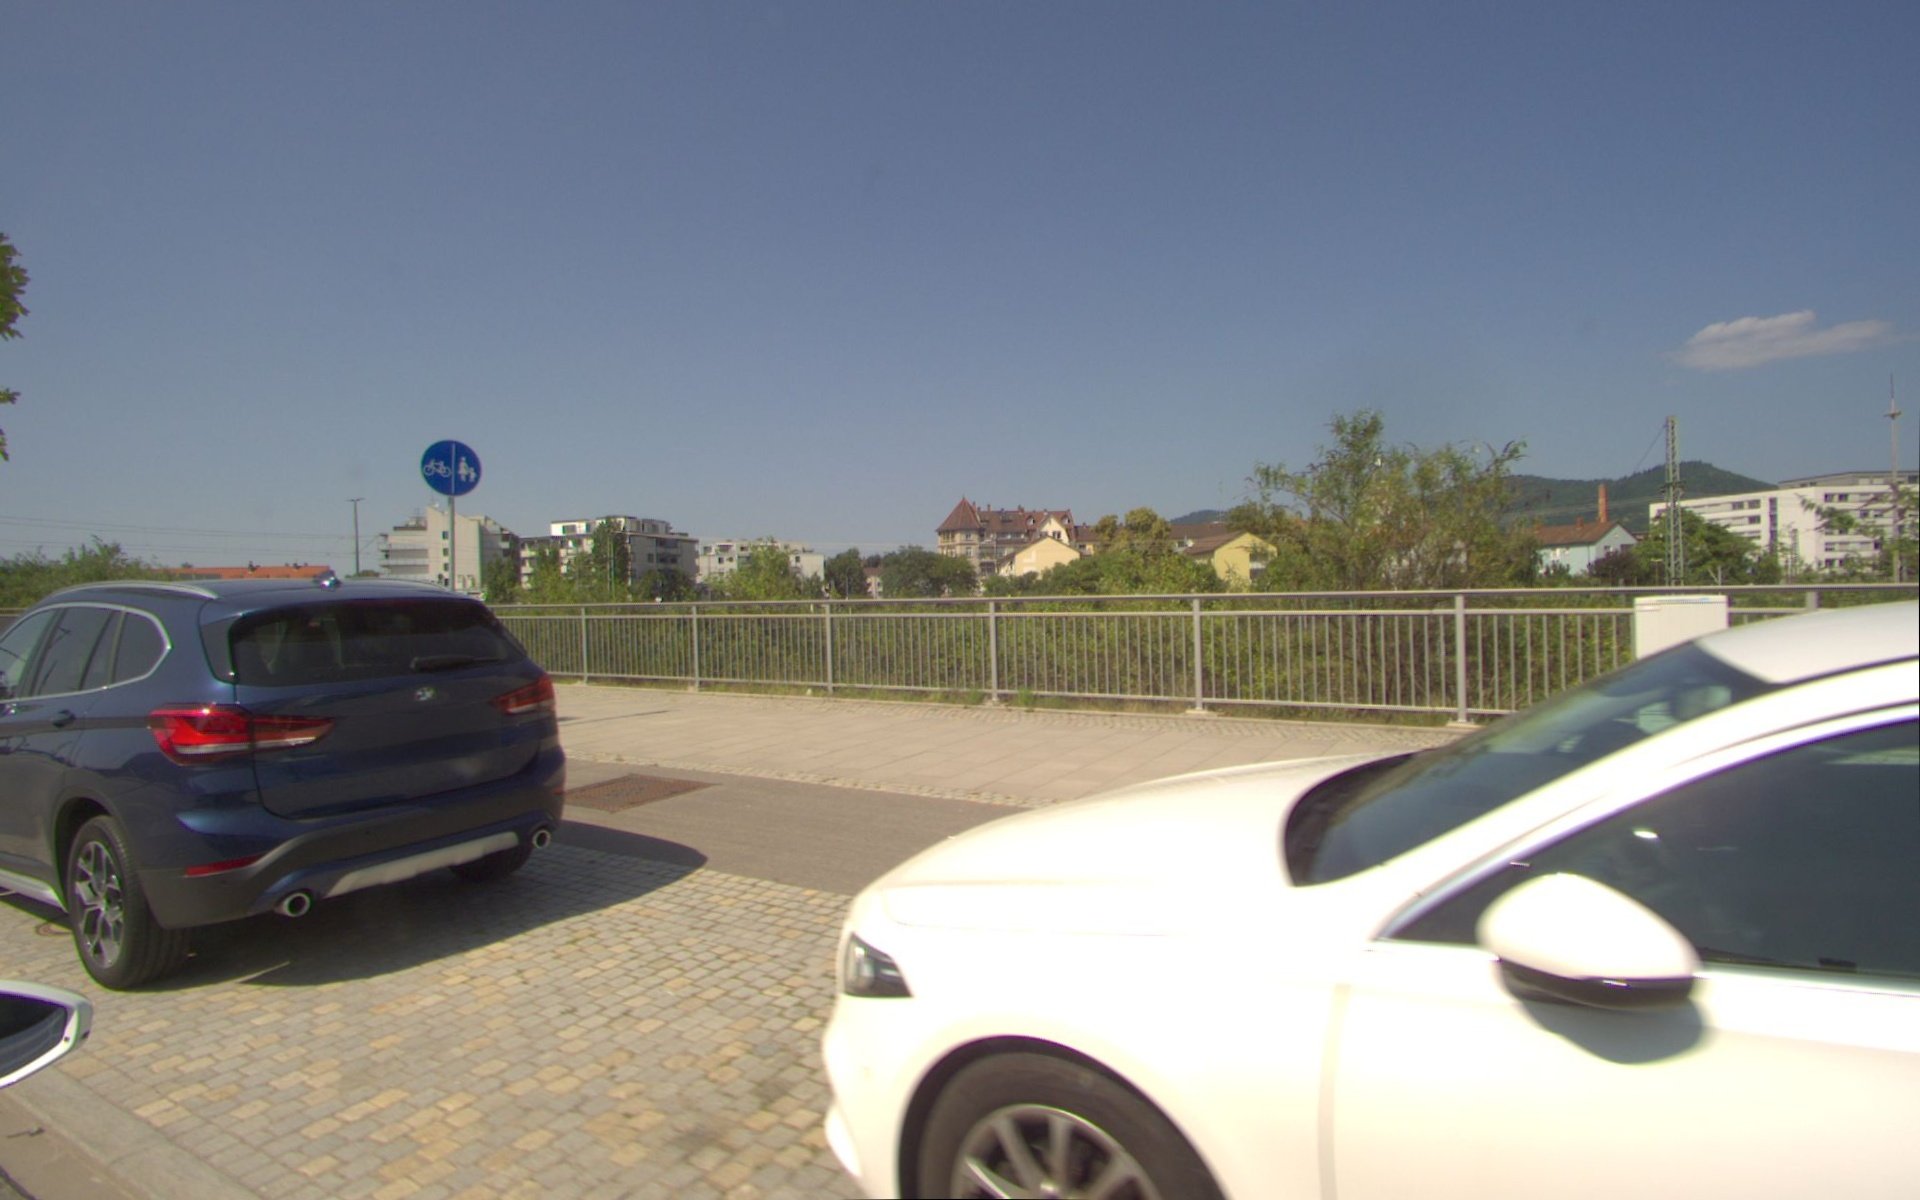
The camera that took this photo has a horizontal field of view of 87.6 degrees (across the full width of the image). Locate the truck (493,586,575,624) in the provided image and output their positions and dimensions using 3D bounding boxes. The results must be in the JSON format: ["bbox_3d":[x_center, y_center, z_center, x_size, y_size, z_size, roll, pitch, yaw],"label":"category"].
[{"bbox_3d":[-39.360,0.517,92.761,3.672,3.244,6.483,-1,-2,17],"label":"truck"}]

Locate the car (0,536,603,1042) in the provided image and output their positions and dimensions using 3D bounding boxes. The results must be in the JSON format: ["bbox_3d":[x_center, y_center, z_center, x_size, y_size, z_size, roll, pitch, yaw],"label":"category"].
[{"bbox_3d":[-4.024,0.659,5.255,4.210,1.706,1.799,-1,1,32],"label":"car"}]

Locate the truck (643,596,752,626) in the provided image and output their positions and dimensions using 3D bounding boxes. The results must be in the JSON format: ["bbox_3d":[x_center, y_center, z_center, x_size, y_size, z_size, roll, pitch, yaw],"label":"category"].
[{"bbox_3d":[-31.051,1.461,120.126,3.674,3.244,17.872,-1,-2,17],"label":"truck"}]

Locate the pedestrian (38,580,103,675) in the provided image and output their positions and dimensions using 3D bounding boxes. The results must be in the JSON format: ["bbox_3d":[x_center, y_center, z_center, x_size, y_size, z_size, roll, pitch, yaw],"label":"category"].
[{"bbox_3d":[-17.999,0.562,20.262,0.872,1.853,0.757,-1,-1,33],"label":"pedestrian"}]

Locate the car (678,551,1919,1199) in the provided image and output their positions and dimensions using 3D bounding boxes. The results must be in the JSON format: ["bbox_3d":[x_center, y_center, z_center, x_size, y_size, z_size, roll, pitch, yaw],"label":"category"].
[{"bbox_3d":[1.651,0.631,1.744,4.210,1.392,1.701,-1,3,32],"label":"car"}]
